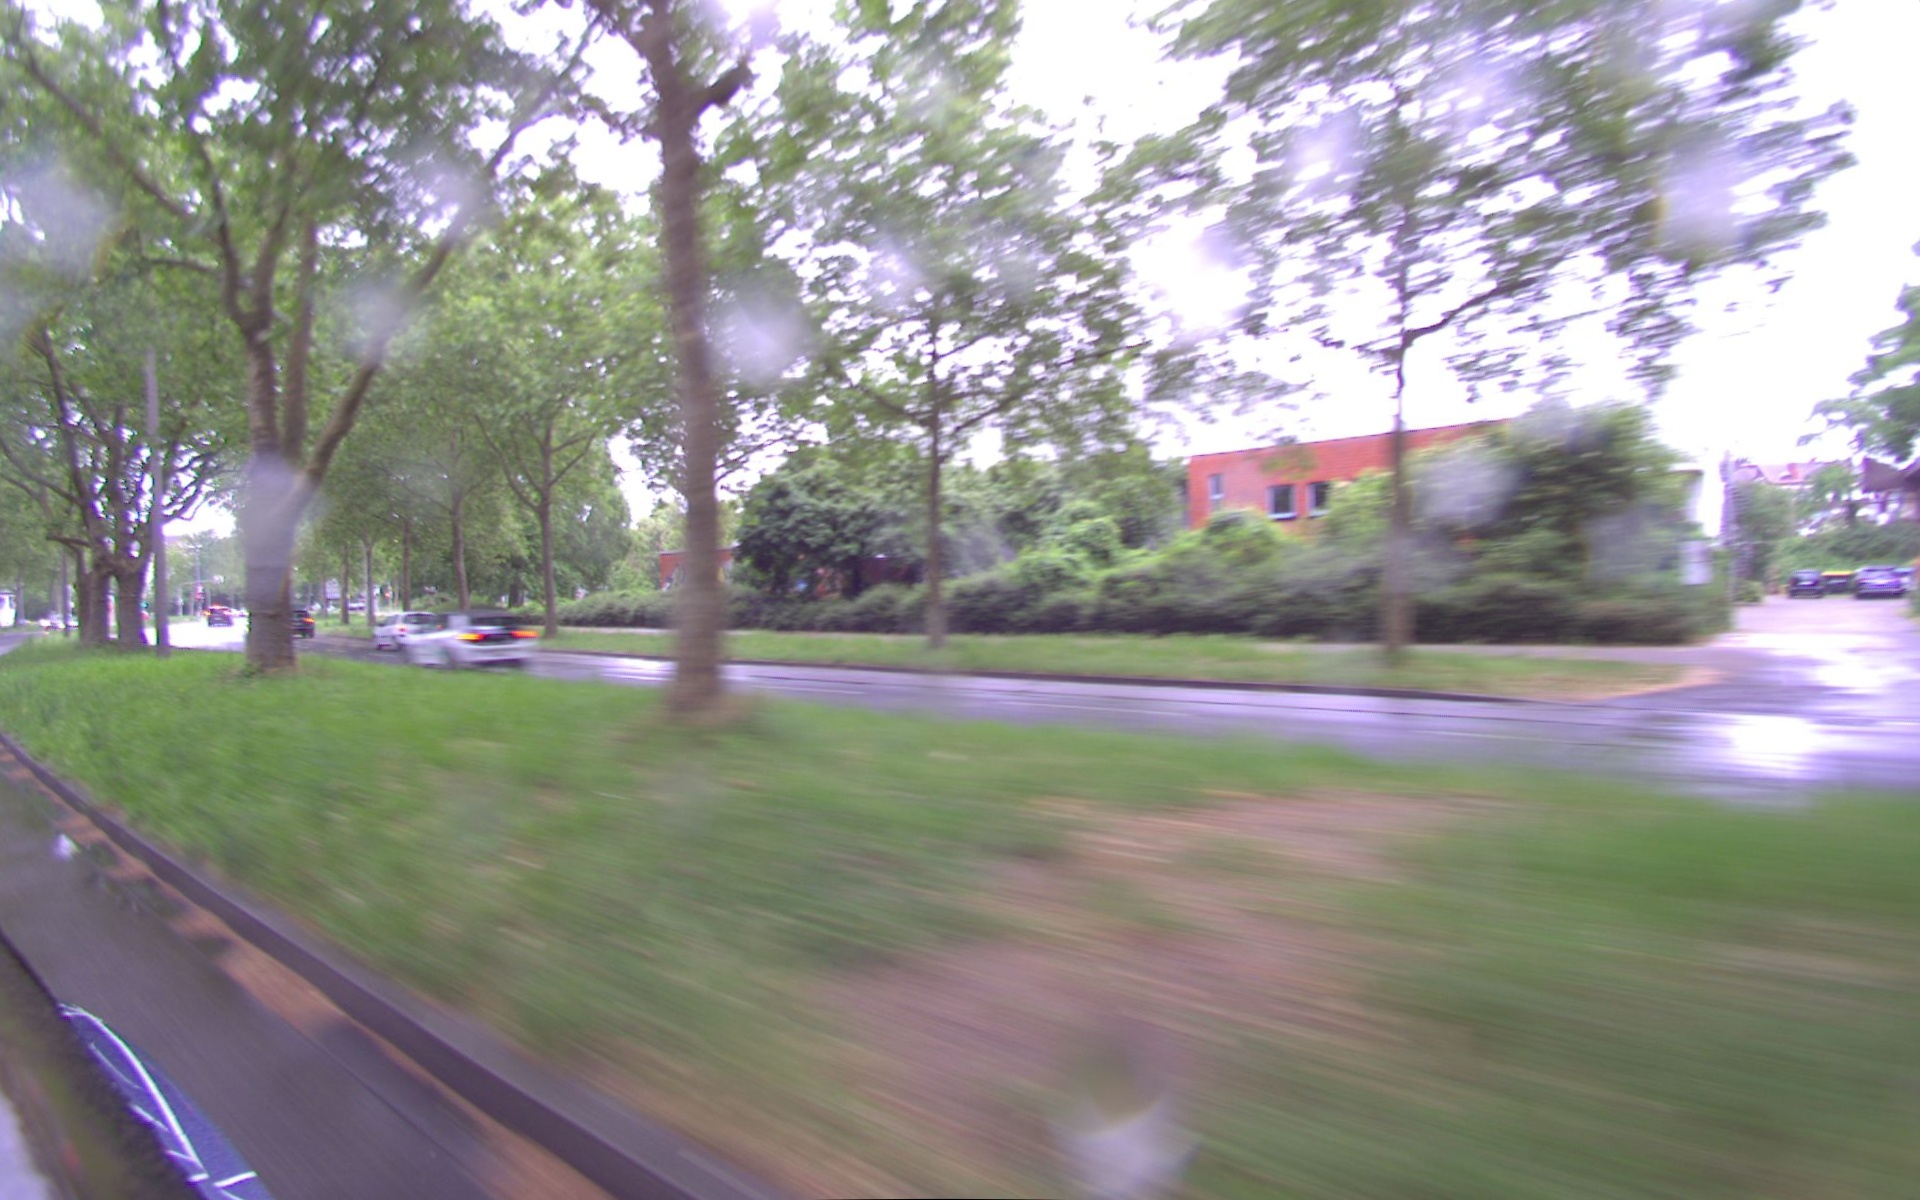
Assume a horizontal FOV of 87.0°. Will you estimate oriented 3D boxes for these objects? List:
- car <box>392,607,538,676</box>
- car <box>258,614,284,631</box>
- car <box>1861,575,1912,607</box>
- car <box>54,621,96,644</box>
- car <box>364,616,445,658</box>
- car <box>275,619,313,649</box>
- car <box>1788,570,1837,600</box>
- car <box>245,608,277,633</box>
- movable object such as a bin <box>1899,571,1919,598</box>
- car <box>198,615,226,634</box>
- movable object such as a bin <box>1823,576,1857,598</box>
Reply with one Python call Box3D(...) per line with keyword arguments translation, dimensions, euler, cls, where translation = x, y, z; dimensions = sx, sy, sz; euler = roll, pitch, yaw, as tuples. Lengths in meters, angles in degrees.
Box3D(translation=(-12.072, 0.967, 24.553), dimensions=(4.410, 1.487, 1.724), euler=(-2, 0, 43), cls="car")
Box3D(translation=(-71.856, 2.306, 105.563), dimensions=(1.966, 1.643, 4.344), euler=(-2, 1, -32), cls="car")
Box3D(translation=(48.423, -0.489, 52.868), dimensions=(4.307, 1.578, 1.750), euler=(-2, 0, -45), cls="car")
Box3D(translation=(-70.043, 2.577, 80.147), dimensions=(1.967, 1.641, 4.533), euler=(-2, 1, -35), cls="car")
Box3D(translation=(-21.404, 1.406, 38.939), dimensions=(1.723, 1.470, 3.844), euler=(-1, 0, -45), cls="car")
Box3D(translation=(-37.780, 1.874, 57.380), dimensions=(1.720, 1.573, 4.380), euler=(-2, 0, -34), cls="car")
Box3D(translation=(47.446, -0.850, 56.318), dimensions=(3.380, 1.578, 1.750), euler=(-2, 0, -45), cls="car")
Box3D(translation=(-65.922, 1.943, 95.399), dimensions=(2.004, 2.243, 5.444), euler=(-1, 0, -39), cls="car")
Box3D(translation=(51.913, -0.867, 55.222), dimensions=(1.059, 1.458, 0.937), euler=(-2, 1, -43), cls="movable object such as a bin")
Box3D(translation=(-70.975, 2.298, 96.072), dimensions=(2.003, 1.749, 4.966), euler=(-2, 0, -36), cls="car")
Box3D(translation=(49.814, -0.759, 57.297), dimensions=(1.059, 1.217, 1.353), euler=(-2, 1, -43), cls="movable object such as a bin")
